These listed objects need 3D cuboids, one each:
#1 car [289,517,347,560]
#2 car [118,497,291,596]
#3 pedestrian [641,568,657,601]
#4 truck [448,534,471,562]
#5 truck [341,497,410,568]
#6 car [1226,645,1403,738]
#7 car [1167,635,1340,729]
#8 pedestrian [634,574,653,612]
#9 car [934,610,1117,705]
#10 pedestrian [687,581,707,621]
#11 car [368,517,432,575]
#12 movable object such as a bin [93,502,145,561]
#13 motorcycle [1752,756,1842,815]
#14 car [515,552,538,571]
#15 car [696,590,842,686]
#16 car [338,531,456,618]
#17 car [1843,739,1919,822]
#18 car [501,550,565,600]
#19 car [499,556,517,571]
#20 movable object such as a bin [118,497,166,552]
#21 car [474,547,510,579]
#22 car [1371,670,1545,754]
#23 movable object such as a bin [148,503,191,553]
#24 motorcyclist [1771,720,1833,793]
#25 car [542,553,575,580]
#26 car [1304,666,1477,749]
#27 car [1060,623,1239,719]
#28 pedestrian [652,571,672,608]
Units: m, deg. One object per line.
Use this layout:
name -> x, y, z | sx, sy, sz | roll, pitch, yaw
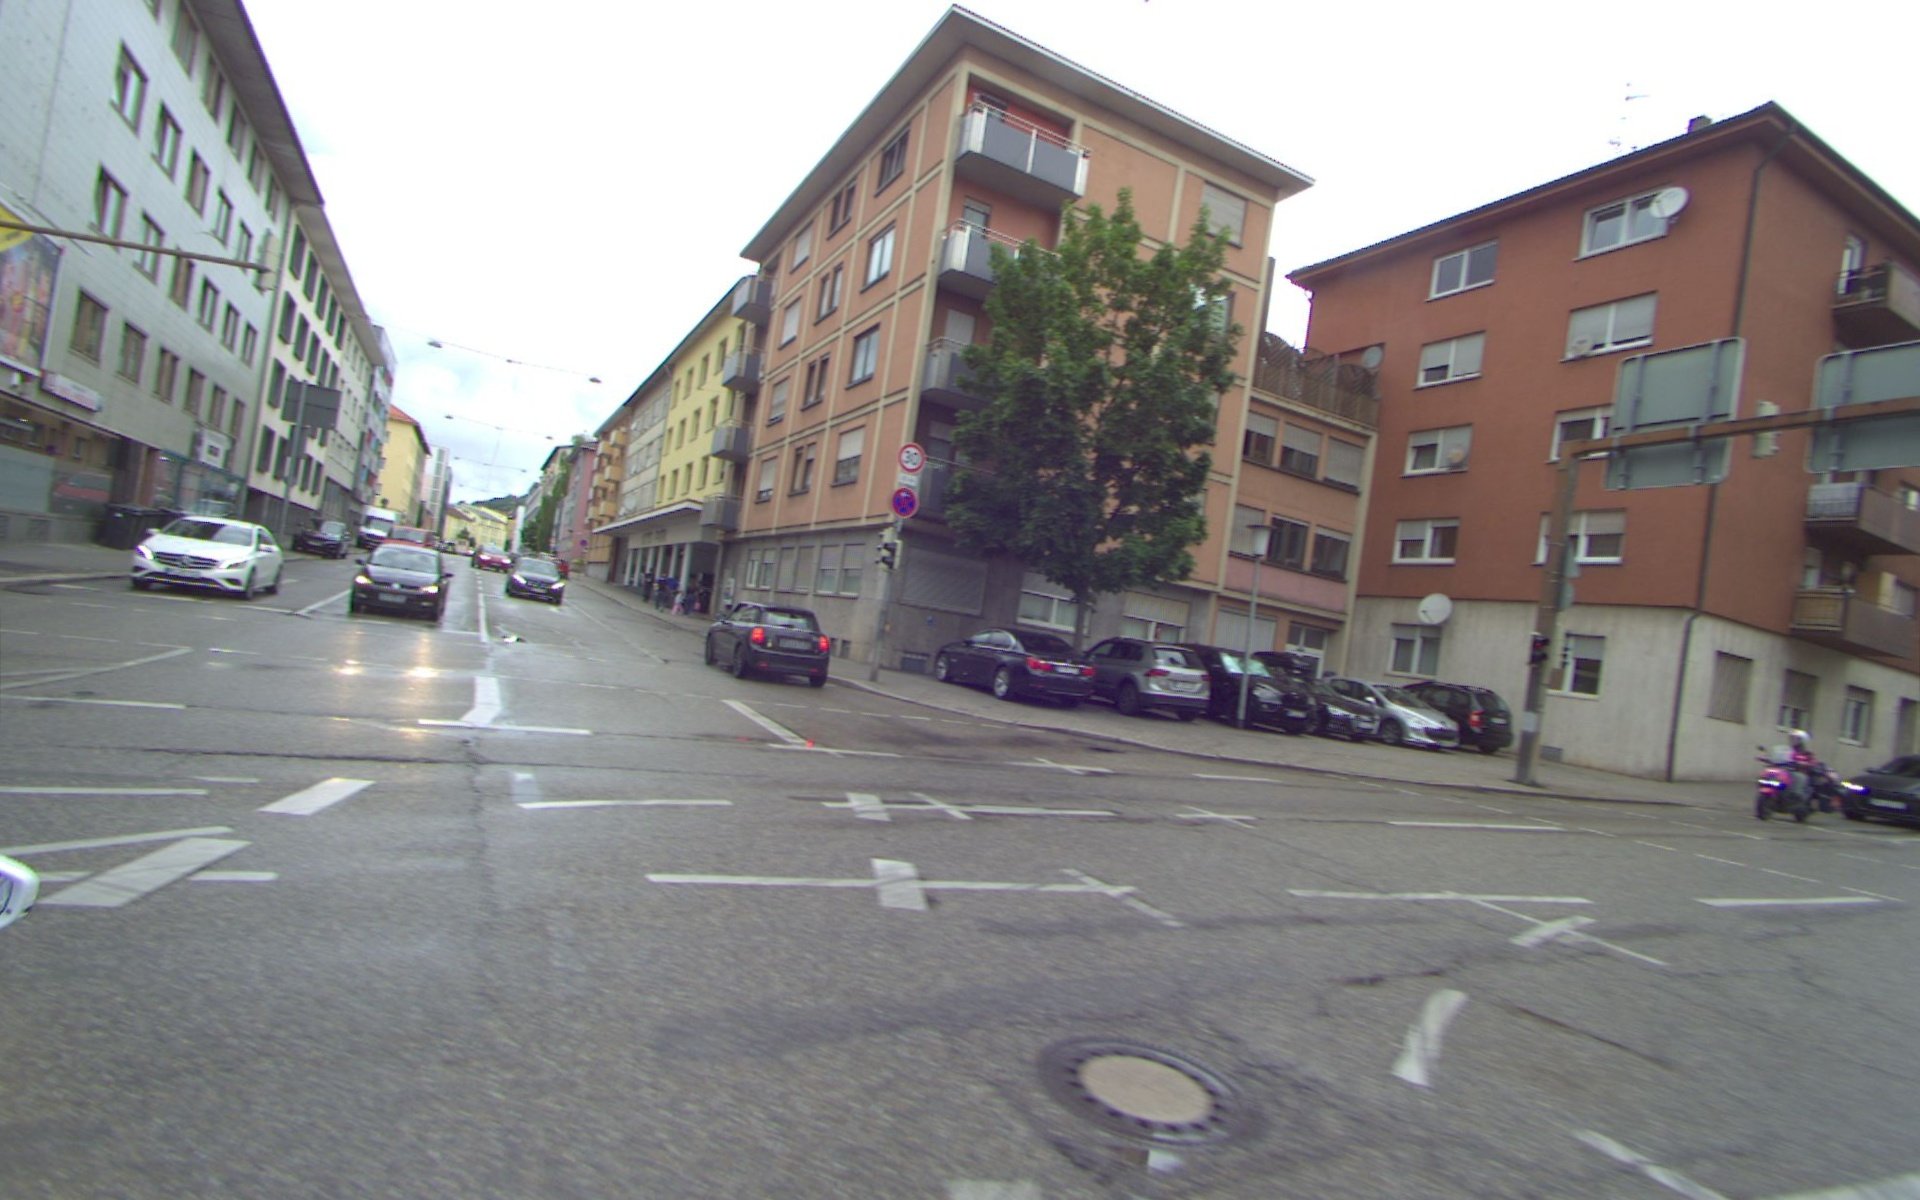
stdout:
car -> -29.540, -2.791, 46.367 | 1.709, 1.621, 3.975 | 7, -2, -27
car -> -14.595, -0.979, 19.679 | 1.827, 1.531, 3.976 | 7, -1, -26
pedestrian -> -16.014, -0.812, 51.780 | 0.516, 1.575, 0.565 | 9, 2, -26
truck -> -85.832, -8.834, 172.565 | 2.783, 3.873, 8.103 | 9, -4, -24
truck -> -39.742, -4.437, 68.646 | 2.783, 3.873, 8.103 | 9, -4, -24
car -> 8.704, 2.204, 25.048 | 1.778, 1.717, 3.979 | 9, -2, -23
car -> 6.753, 1.856, 23.635 | 1.962, 1.739, 3.990 | 6, -2, -15
pedestrian -> -13.929, -0.309, 44.267 | 0.516, 1.558, 0.565 | 9, 2, -26
car -> 1.268, 1.180, 22.044 | 1.827, 1.572, 4.769 | 7, -2, -24
pedestrian -> -11.184, 0.029, 42.769 | 0.475, 1.585, 0.554 | 9, 2, -26
car -> -26.224, -2.466, 47.263 | 2.046, 2.267, 4.594 | 7, -2, -25
movable object such as a bin -> -21.382, -1.733, 25.596 | 0.692, 1.330, 0.778 | 9, -3, -27
motorcycle -> 15.468, 3.397, 18.568 | 2.341, 0.938, 0.632 | 6, -2, -34
car -> -45.834, -4.066, 106.255 | 1.998, 1.579, 3.981 | 9, -4, -23
car -> -3.866, 0.687, 19.816 | 1.646, 1.437, 4.045 | 7, -1, -27
car -> -11.985, -0.535, 21.632 | 1.827, 1.507, 3.976 | 7, -1, -26
car -> 20.226, 3.793, 20.767 | 3.958, 1.459, 1.862 | 7, -2, -31
car -> -15.713, -0.894, 36.915 | 1.827, 1.506, 3.977 | 7, -2, -26
car -> -61.231, -4.968, 136.306 | 1.998, 1.579, 3.981 | 9, -4, -23
movable object such as a bin -> -22.164, -2.038, 27.281 | 0.692, 1.330, 0.778 | 9, -3, -27
car -> -29.784, -2.311, 64.051 | 1.827, 1.693, 3.977 | 7, -2, -25
car -> 13.442, 2.986, 27.453 | 1.970, 1.724, 3.993 | 9, -4, -14
movable object such as a bin -> -23.336, -2.119, 29.711 | 0.692, 1.330, 0.778 | 9, -3, -27
motorcyclist -> 15.567, 2.888, 18.606 | 0.651, 1.239, 0.649 | 5, 0, -34
car -> -31.166, -2.545, 78.036 | 1.998, 1.579, 5.130 | 9, -4, -23
car -> 10.972, 2.712, 25.931 | 1.652, 1.599, 3.985 | 9, -4, -21
car -> 4.178, 1.550, 22.841 | 1.967, 1.680, 3.979 | 7, -2, -23
pedestrian -> -13.192, -0.479, 44.530 | 0.516, 1.537, 0.565 | 9, 2, -26
